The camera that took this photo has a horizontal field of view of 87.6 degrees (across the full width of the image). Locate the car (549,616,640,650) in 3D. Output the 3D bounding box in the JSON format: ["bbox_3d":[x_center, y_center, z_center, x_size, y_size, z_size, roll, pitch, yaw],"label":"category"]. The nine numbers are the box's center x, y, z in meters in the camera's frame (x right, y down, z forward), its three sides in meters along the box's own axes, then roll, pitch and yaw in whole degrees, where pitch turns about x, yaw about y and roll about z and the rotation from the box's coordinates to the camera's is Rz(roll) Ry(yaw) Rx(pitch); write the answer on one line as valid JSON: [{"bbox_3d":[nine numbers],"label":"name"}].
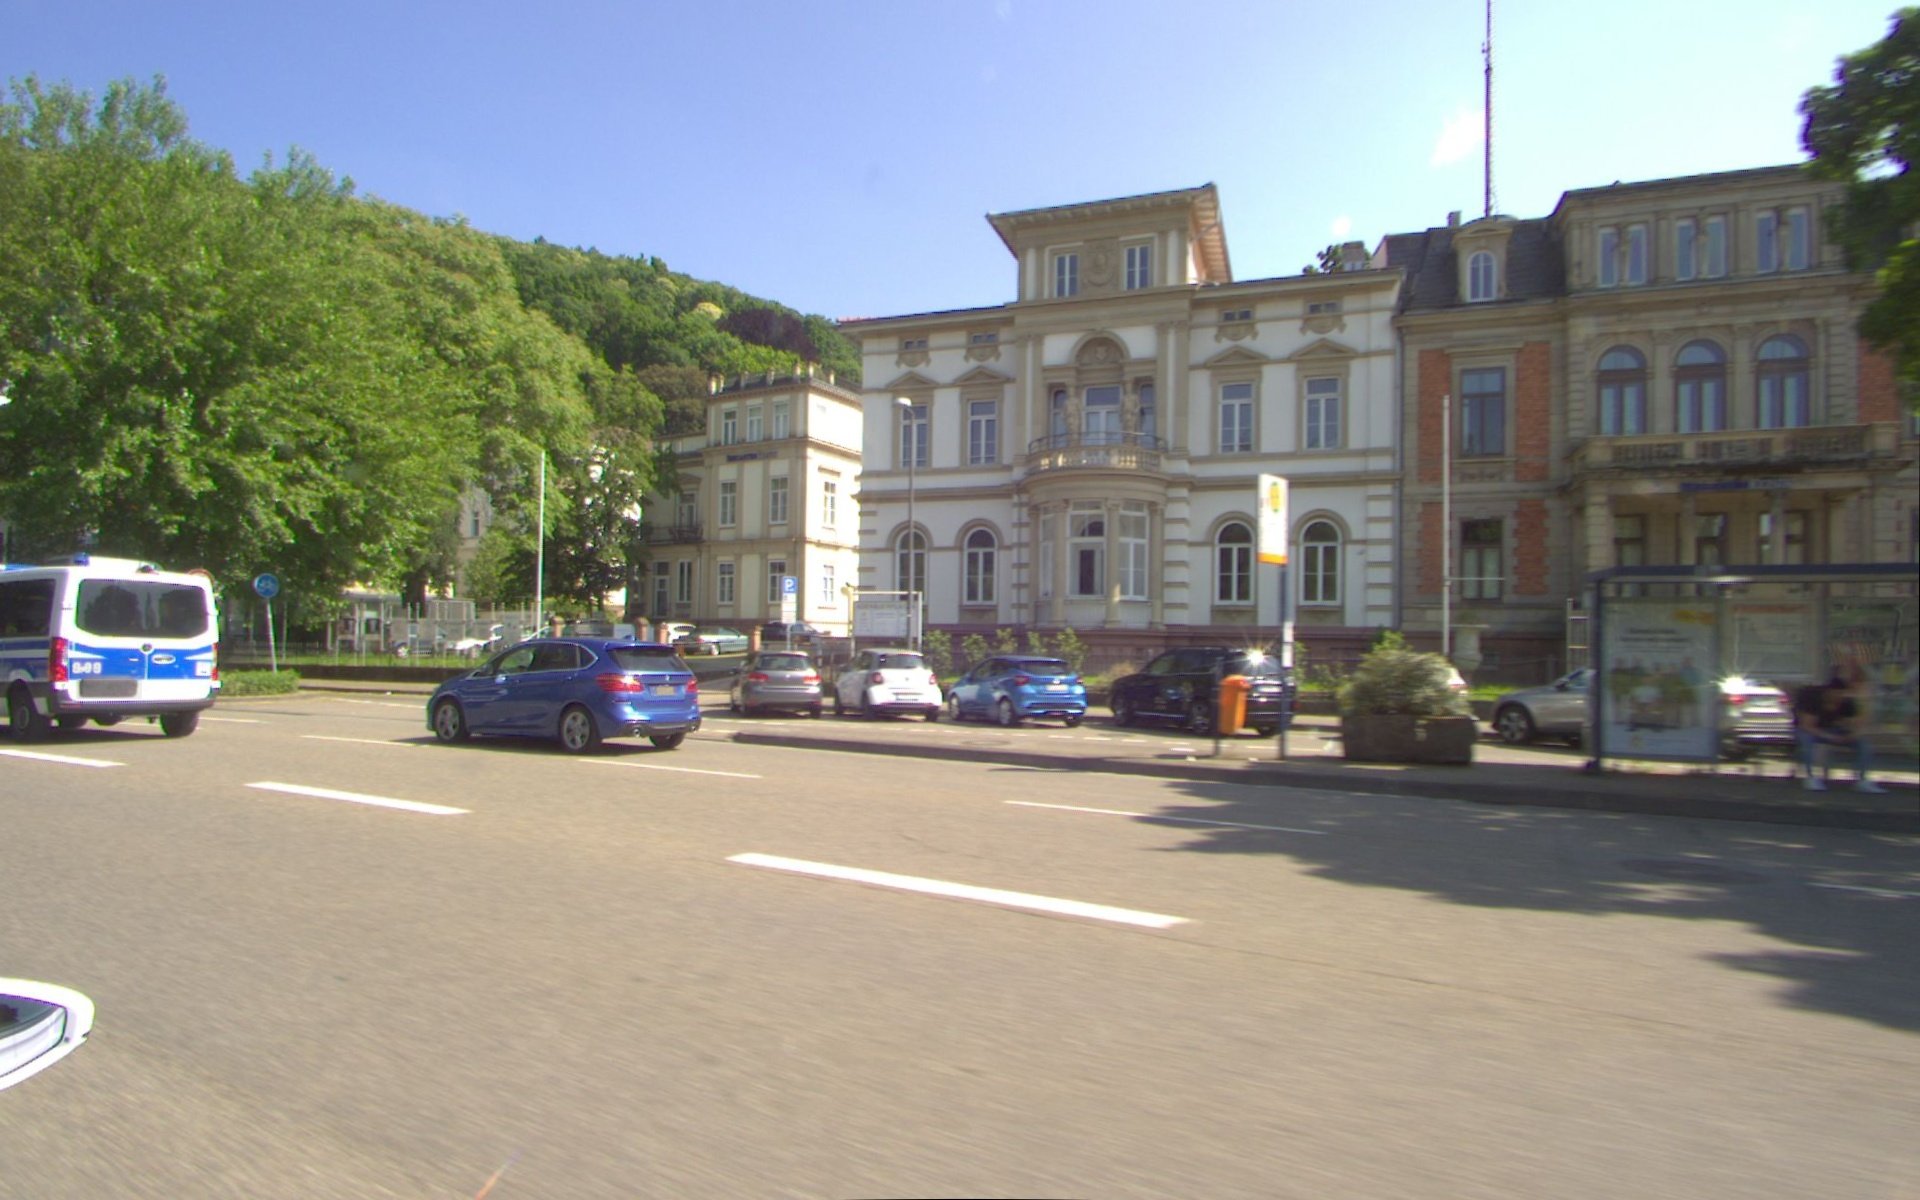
[{"bbox_3d":[-18.528,1.690,50.897,1.792,1.623,4.309,0,-2,26],"label":"car"}]

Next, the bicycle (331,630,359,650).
[{"bbox_3d":[-34.215,2.236,55.726,1.807,1.099,0.537,0,-1,30],"label":"bicycle"}]

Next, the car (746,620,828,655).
[{"bbox_3d":[-8.094,1.769,47.231,1.835,1.528,4.050,0,-2,26],"label":"car"}]

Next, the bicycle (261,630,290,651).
[{"bbox_3d":[-35.806,2.114,52.400,1.807,1.099,0.537,0,-1,30],"label":"bicycle"}]

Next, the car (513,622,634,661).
[{"bbox_3d":[-14.234,1.520,37.122,1.830,1.353,4.042,0,-2,26],"label":"car"}]

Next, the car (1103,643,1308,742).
[{"bbox_3d":[4.733,1.741,19.952,1.687,1.717,4.261,2,-3,-24],"label":"car"}]

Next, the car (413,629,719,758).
[{"bbox_3d":[-5.673,1.255,14.327,4.205,1.560,1.719,0,-3,28],"label":"car"}]

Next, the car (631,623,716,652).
[{"bbox_3d":[-14.095,1.835,49.541,1.792,1.353,4.077,0,-2,26],"label":"car"}]

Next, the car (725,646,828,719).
[{"bbox_3d":[-4.312,1.836,23.051,1.796,1.479,4.101,2,-3,-18],"label":"car"}]

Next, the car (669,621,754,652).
[{"bbox_3d":[-11.858,1.748,48.090,1.792,1.437,4.050,0,-2,26],"label":"car"}]

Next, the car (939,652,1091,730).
[{"bbox_3d":[1.067,1.874,21.401,1.687,1.460,3.799,2,-3,-24],"label":"car"}]

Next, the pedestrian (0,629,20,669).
[{"bbox_3d":[-35.400,1.804,37.295,0.485,1.476,0.729,1,-1,-38],"label":"pedestrian"}]

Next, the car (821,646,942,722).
[{"bbox_3d":[-1.863,1.843,22.661,1.685,1.530,3.802,2,-3,-21],"label":"car"}]

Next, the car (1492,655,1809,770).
[{"bbox_3d":[11.630,1.819,17.258,1.686,1.650,4.305,2,-3,-22],"label":"car"}]

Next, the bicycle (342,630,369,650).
[{"bbox_3d":[-33.979,2.256,56.281,1.807,1.099,0.537,0,-1,30],"label":"bicycle"}]

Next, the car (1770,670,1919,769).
[{"bbox_3d":[15.188,1.868,15.559,1.578,1.435,3.815,2,-3,-18],"label":"car"}]

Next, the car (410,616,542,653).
[{"bbox_3d":[-18.613,1.337,38.737,1.792,1.353,4.467,0,-2,26],"label":"car"}]

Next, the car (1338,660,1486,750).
[{"bbox_3d":[8.360,1.898,18.635,1.184,1.501,2.279,2,-3,-27],"label":"car"}]

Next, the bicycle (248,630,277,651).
[{"bbox_3d":[-36.116,2.093,51.832,1.807,1.099,0.537,0,-1,30],"label":"bicycle"}]

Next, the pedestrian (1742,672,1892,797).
[{"bbox_3d":[9.076,1.398,10.660,0.776,1.213,1.022,1,-2,8],"label":"pedestrian"}]

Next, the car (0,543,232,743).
[{"bbox_3d":[-13.267,0.625,14.820,4.852,2.540,2.073,-1,-3,28],"label":"car"}]

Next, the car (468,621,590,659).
[{"bbox_3d":[-16.215,1.496,37.891,1.792,1.353,4.086,0,-2,26],"label":"car"}]

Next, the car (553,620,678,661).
[{"bbox_3d":[-12.272,1.436,35.948,1.959,1.353,4.042,0,-2,26],"label":"car"}]

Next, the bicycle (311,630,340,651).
[{"bbox_3d":[-34.571,2.193,54.537,1.807,1.099,0.537,0,-1,30],"label":"bicycle"}]

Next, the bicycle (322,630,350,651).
[{"bbox_3d":[-34.335,2.214,55.111,1.807,1.099,0.537,0,-1,30],"label":"bicycle"}]

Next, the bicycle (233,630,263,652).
[{"bbox_3d":[-36.566,2.078,51.419,1.807,1.099,0.537,0,-1,30],"label":"bicycle"}]

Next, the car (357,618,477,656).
[{"bbox_3d":[-22.444,1.540,41.556,1.846,1.494,4.146,0,-2,23],"label":"car"}]
